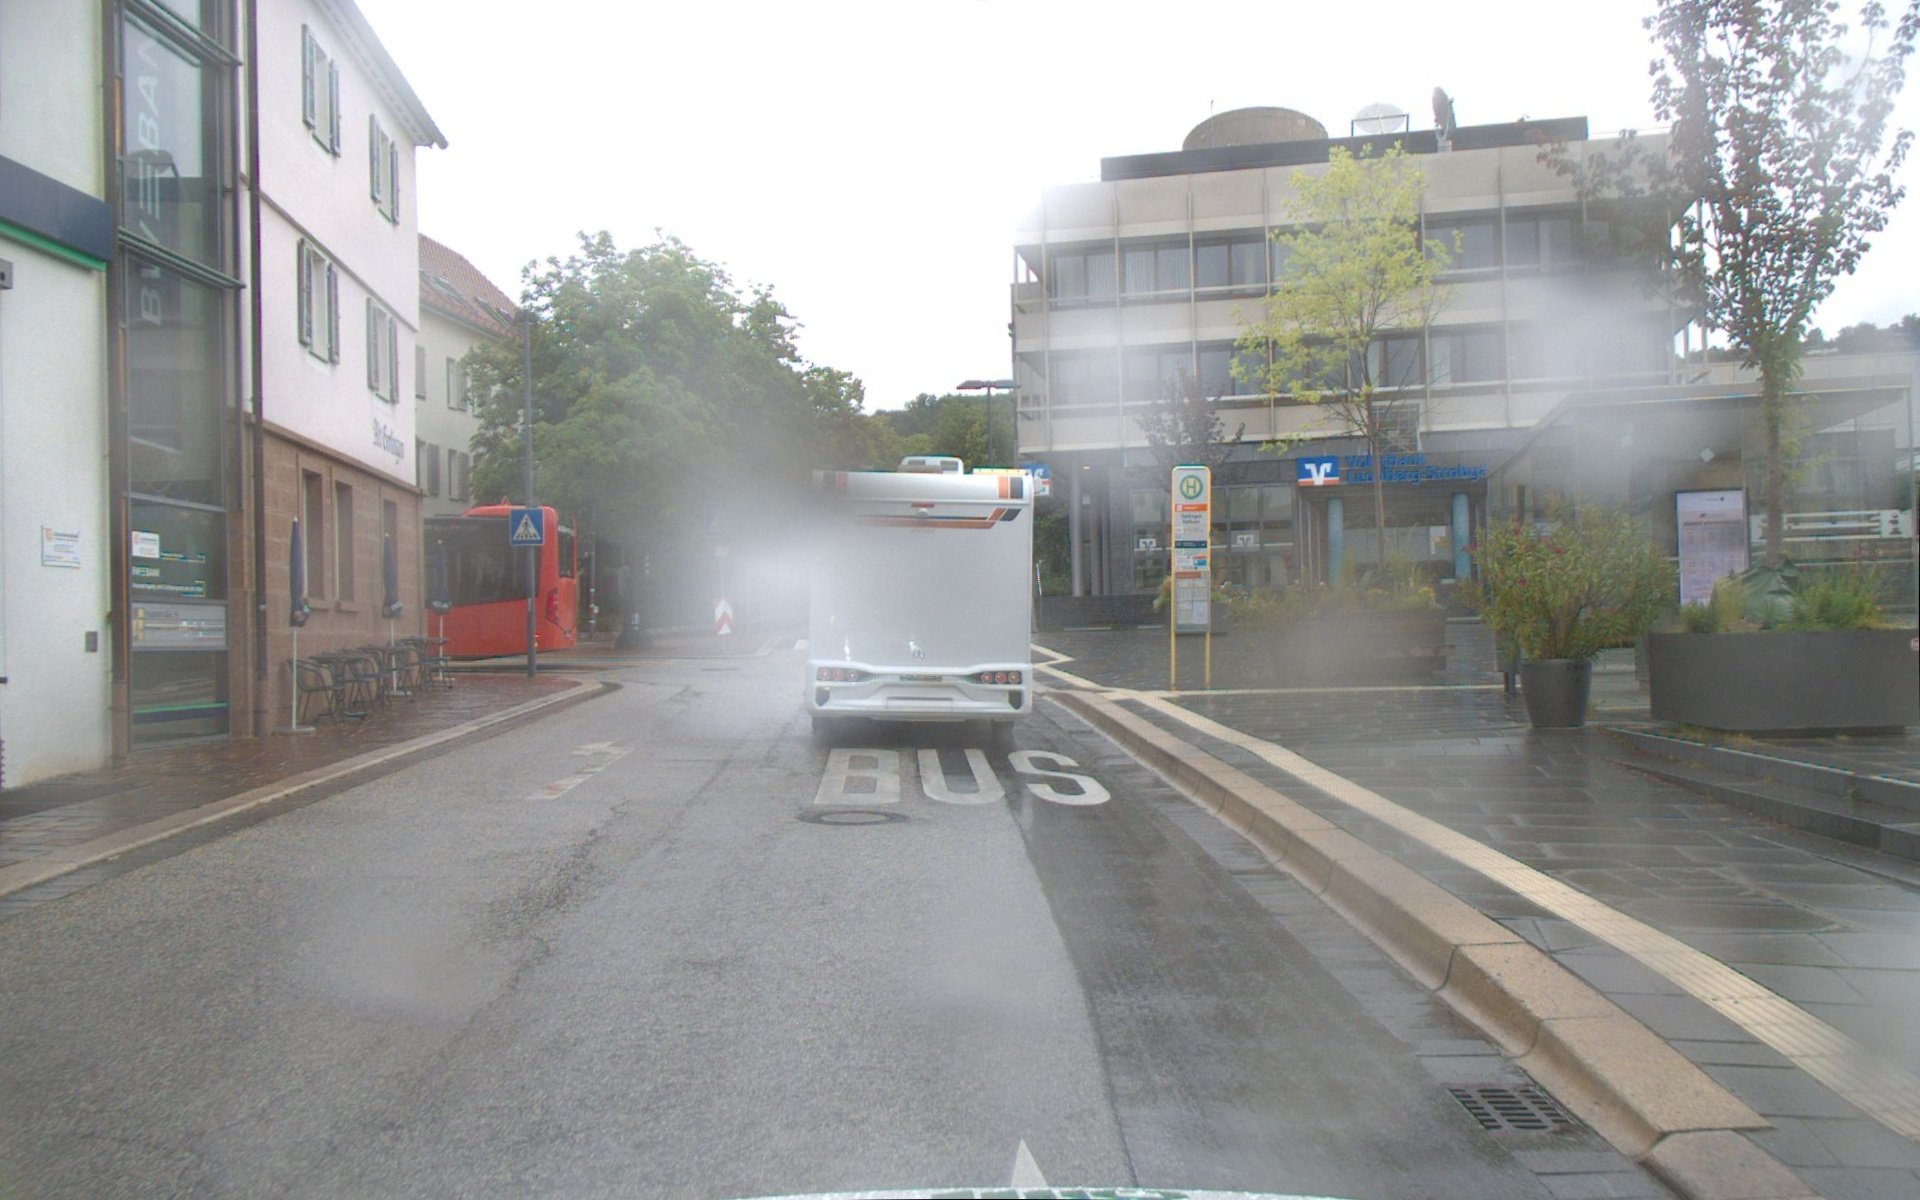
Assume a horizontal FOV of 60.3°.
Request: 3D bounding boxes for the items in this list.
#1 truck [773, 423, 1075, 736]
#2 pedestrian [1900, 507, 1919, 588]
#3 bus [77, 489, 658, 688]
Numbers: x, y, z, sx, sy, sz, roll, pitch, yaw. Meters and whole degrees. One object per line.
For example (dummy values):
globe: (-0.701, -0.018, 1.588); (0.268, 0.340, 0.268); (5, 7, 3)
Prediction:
truck: (-0.520, -0.173, 18.726); (2.750, 2.845, 6.102); (-2, -1, -4)
pedestrian: (26.489, -1.454, 45.652); (0.742, 2.185, 0.659); (-3, -1, 17)
bus: (-11.022, -0.224, 31.767); (9.920, 3.201, 3.029); (-3, -1, -6)
